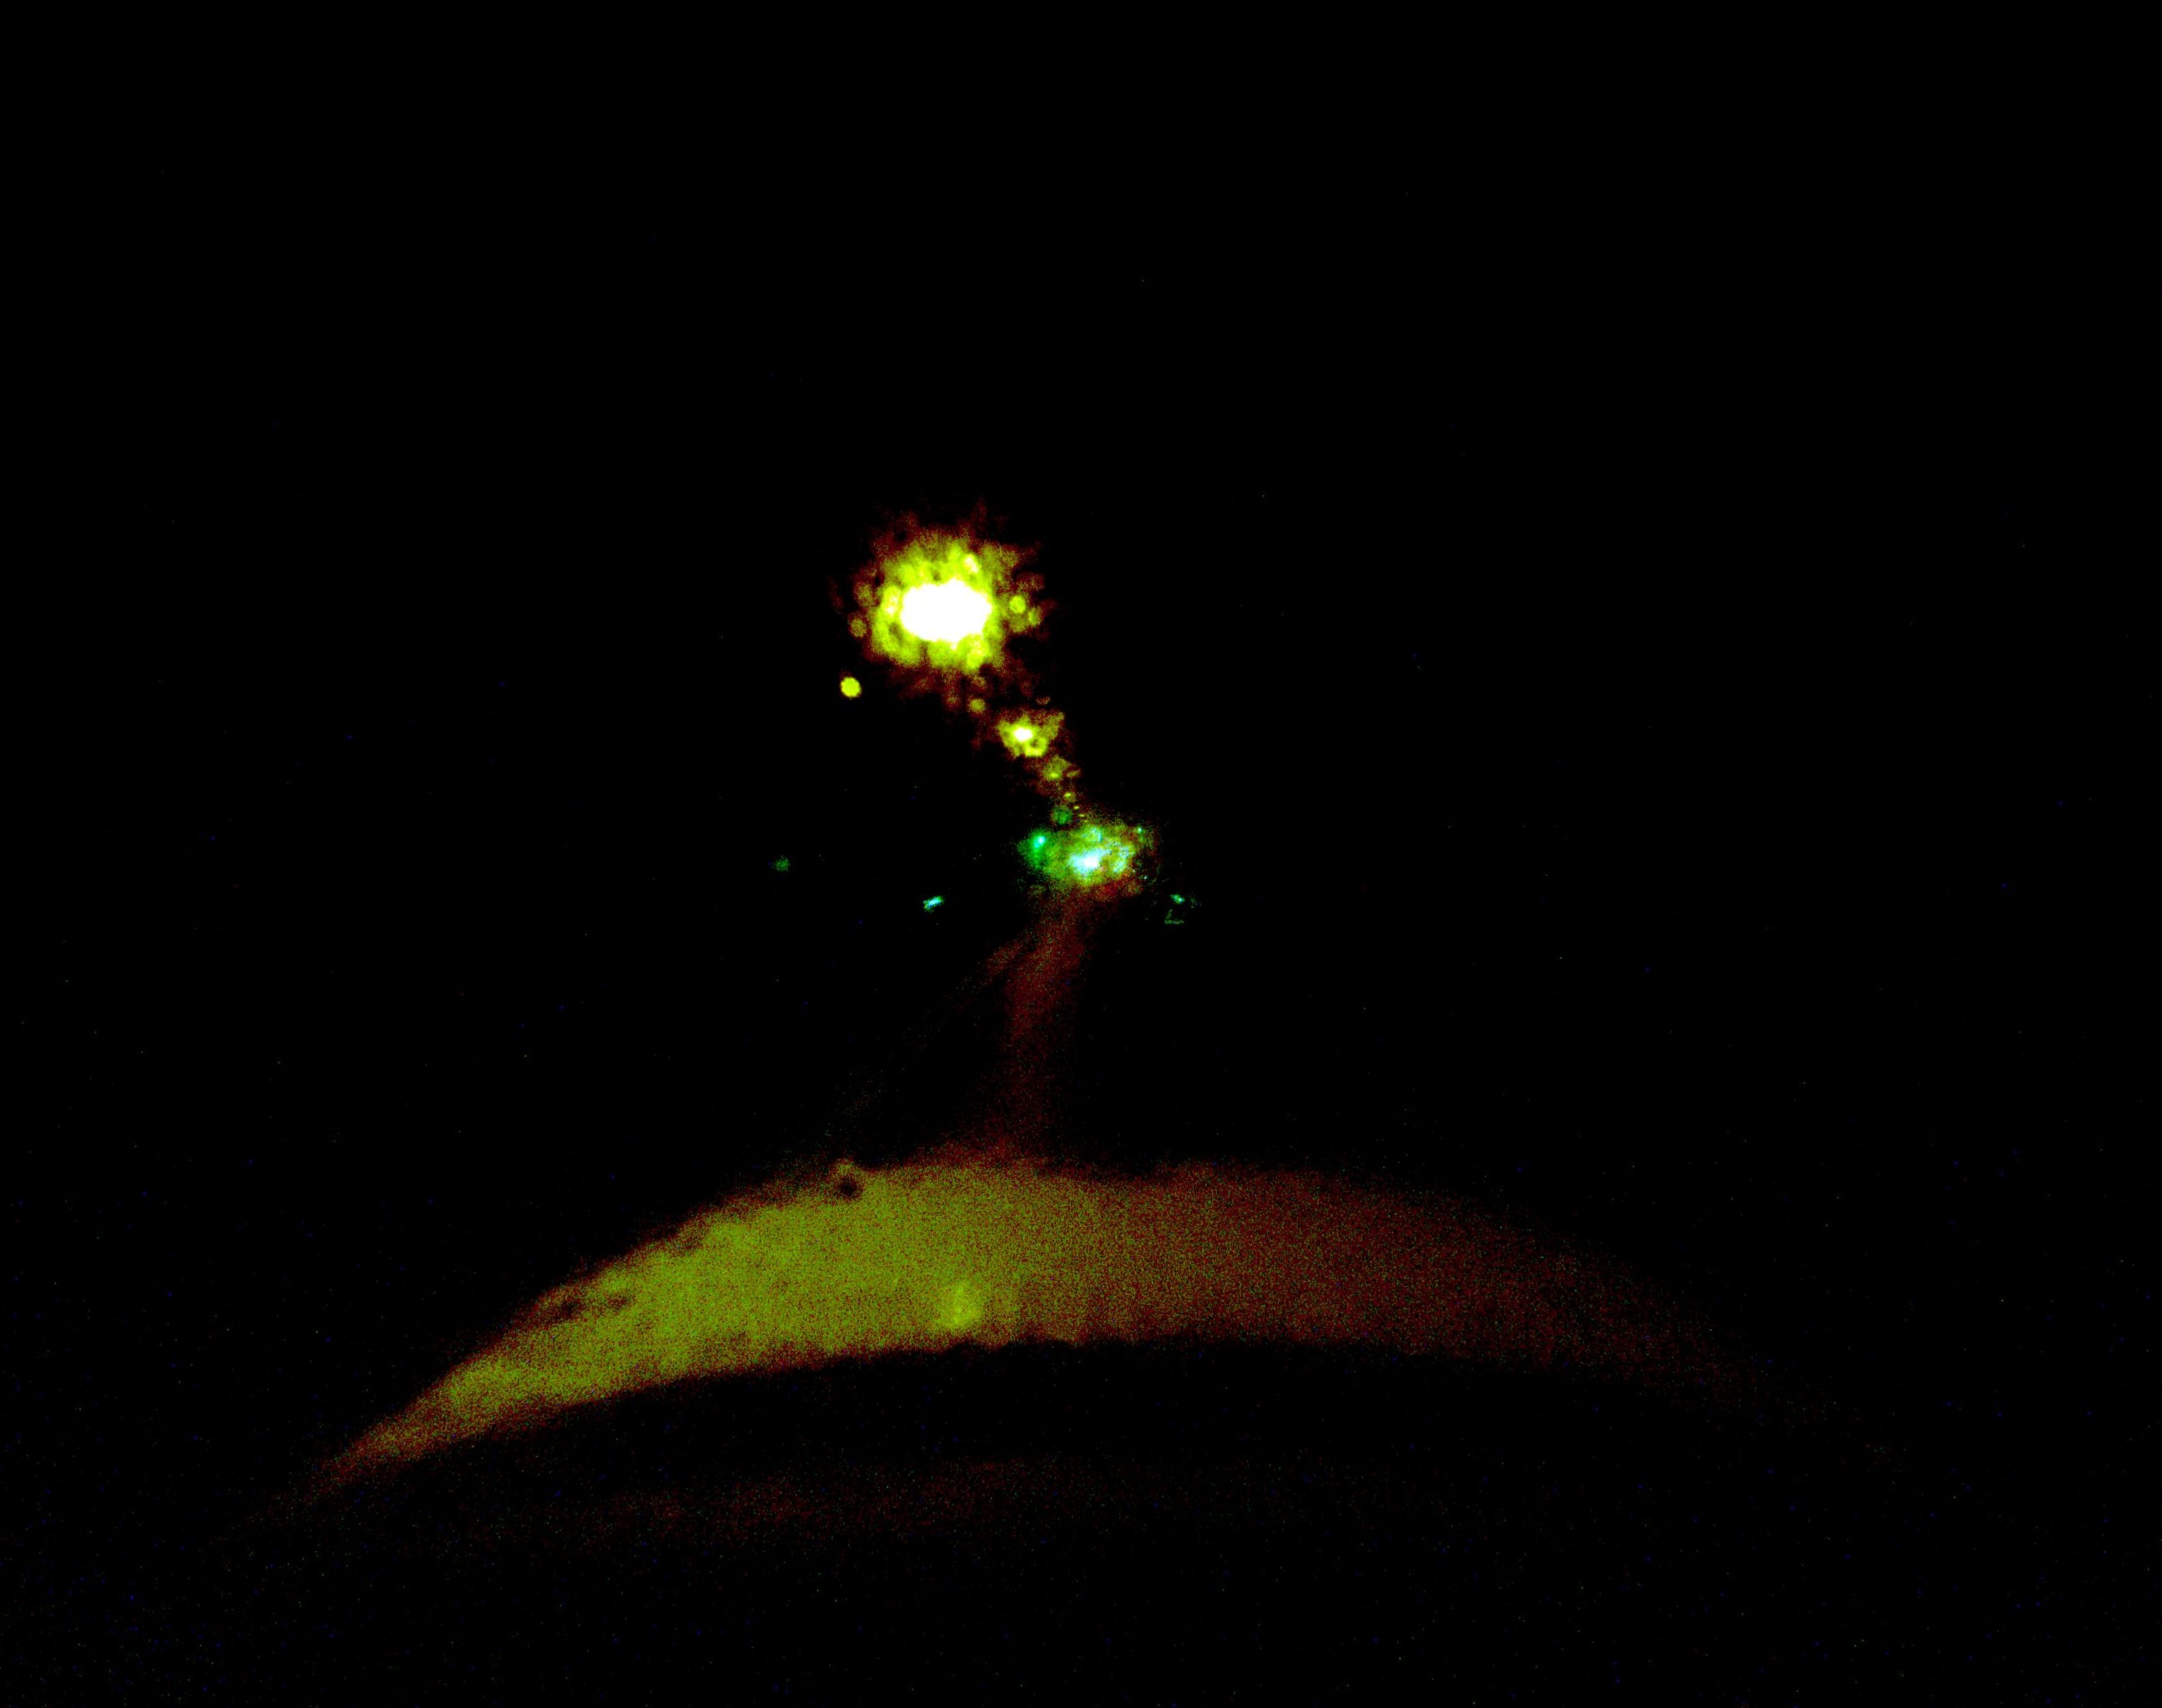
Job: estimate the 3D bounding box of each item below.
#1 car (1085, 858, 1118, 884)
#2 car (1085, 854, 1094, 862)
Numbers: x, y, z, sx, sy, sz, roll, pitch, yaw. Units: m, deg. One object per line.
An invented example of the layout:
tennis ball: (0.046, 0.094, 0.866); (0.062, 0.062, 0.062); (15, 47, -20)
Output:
car: (1.351, 1.110, 54.754); (2.082, 1.662, 4.001); (-2, -1, 1)
car: (1.595, 0.835, 159.603); (1.685, 1.505, 3.745); (-1, 0, 1)
